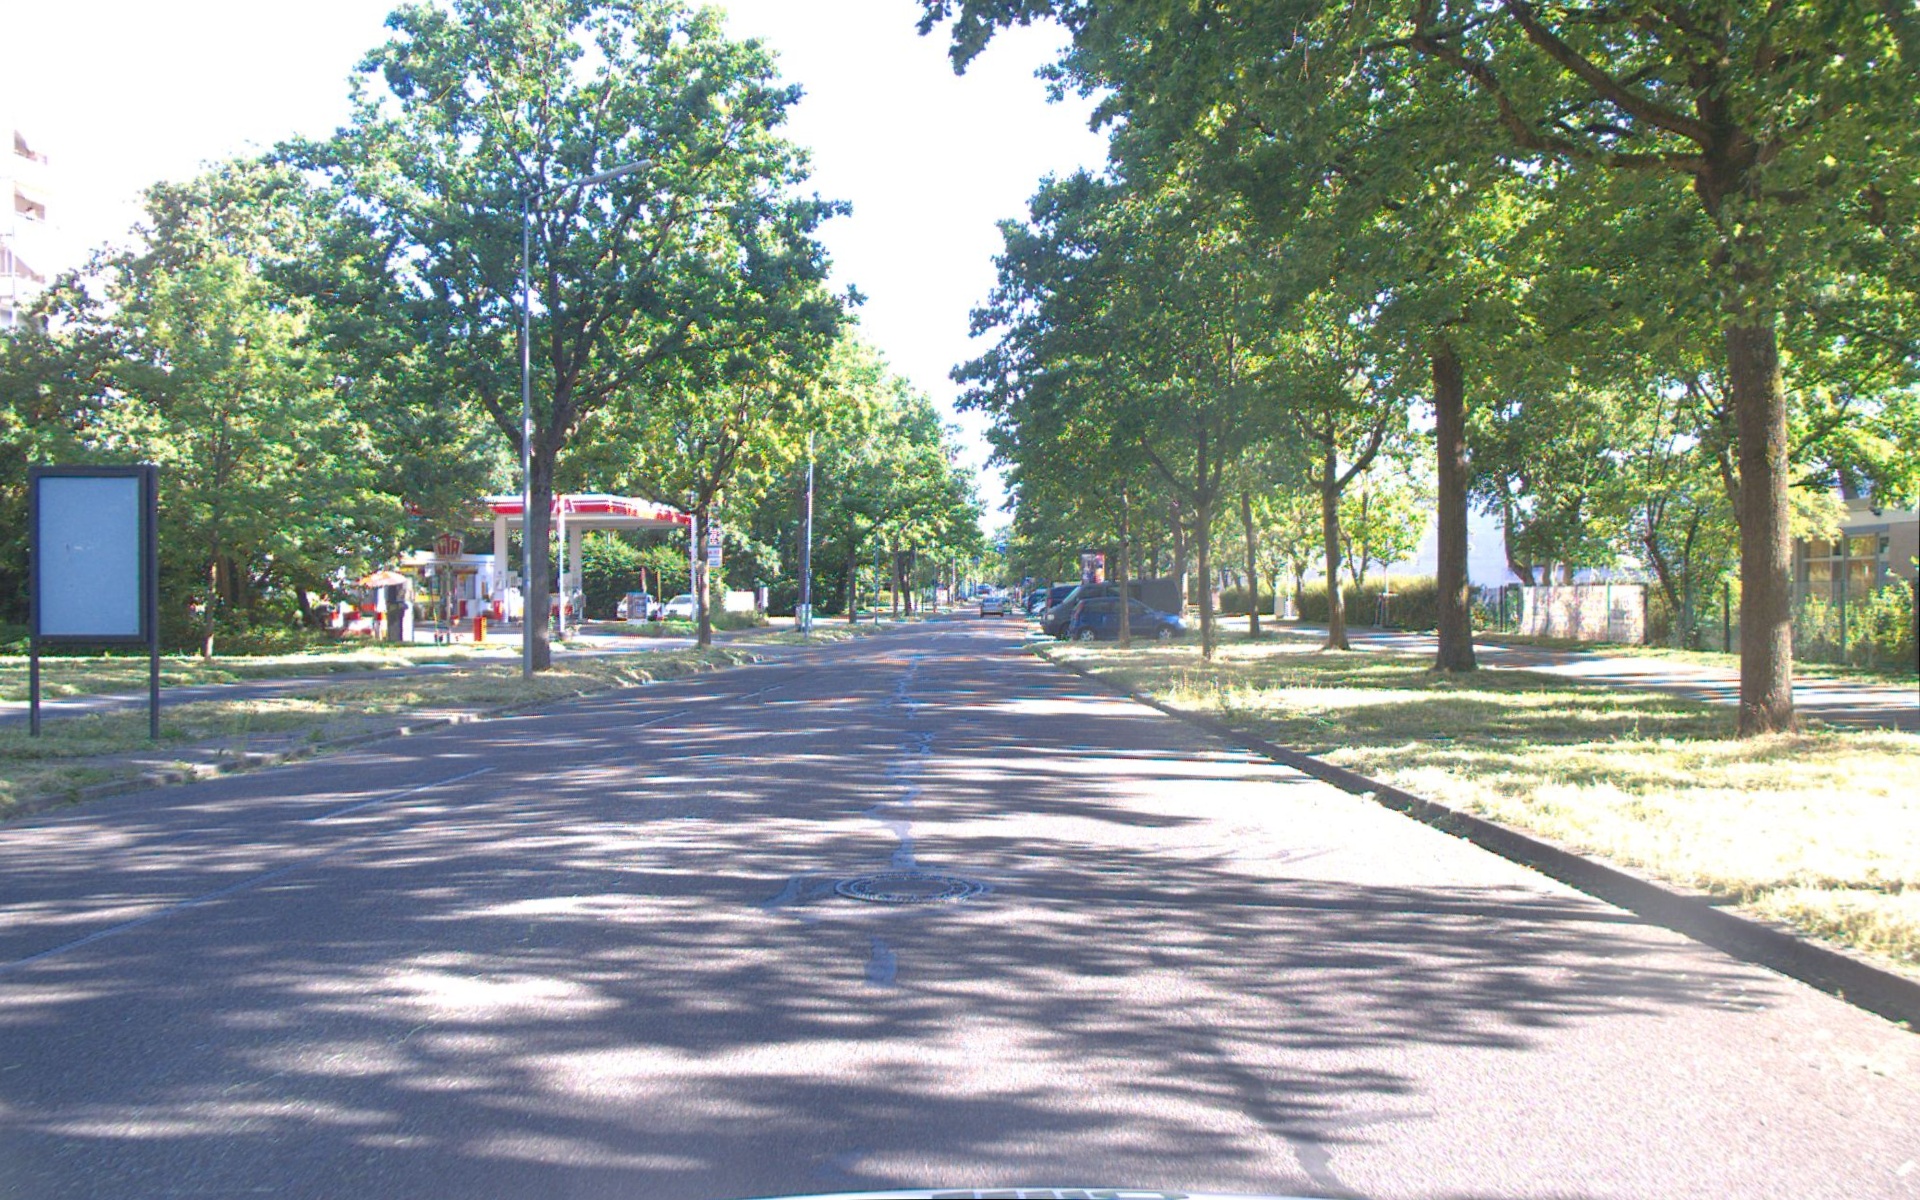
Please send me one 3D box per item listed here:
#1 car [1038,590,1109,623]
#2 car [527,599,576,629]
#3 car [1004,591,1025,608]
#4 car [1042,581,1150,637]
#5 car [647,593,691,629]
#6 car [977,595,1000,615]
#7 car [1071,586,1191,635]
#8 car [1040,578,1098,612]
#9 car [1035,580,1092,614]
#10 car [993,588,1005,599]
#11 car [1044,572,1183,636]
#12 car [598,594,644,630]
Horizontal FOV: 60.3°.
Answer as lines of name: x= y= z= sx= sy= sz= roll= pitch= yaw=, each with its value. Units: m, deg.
car: x=5.826 y=0.350 z=85.007 sx=3.578 sy=1.590 sz=1.317 roll=-1 pitch=-1 yaw=0
car: x=-22.784 y=0.801 z=92.272 sx=1.764 sy=1.649 sz=3.804 roll=-1 pitch=-1 yaw=0
car: x=4.639 y=-0.017 z=141.459 sx=1.627 sy=1.360 sz=3.665 roll=-1 pitch=-1 yaw=0
car: x=4.629 y=0.311 z=56.673 sx=3.578 sy=1.829 sz=1.317 roll=-1 pitch=-1 yaw=0
car: x=-15.818 y=0.628 z=90.150 sx=1.764 sy=1.855 sz=3.804 roll=-1 pitch=-1 yaw=-1
car: x=2.054 y=0.404 z=120.994 sx=1.627 sy=1.360 sz=3.665 roll=-1 pitch=-1 yaw=0
car: x=5.272 y=0.341 z=51.194 sx=3.578 sy=1.422 sz=1.317 roll=-1 pitch=-1 yaw=0
car: x=6.825 y=-0.304 z=103.910 sx=3.494 sy=2.087 sz=1.633 roll=-1 pitch=-1 yaw=1
car: x=6.646 y=-0.168 z=106.409 sx=3.494 sy=2.087 sz=1.575 roll=-1 pitch=-1 yaw=1
car: x=5.477 y=-0.903 z=233.078 sx=1.627 sy=1.360 sz=3.665 roll=-1 pitch=-1 yaw=0
car: x=4.990 y=0.139 z=54.180 sx=4.410 sy=1.987 sz=1.687 roll=-1 pitch=-1 yaw=0
car: x=-18.451 y=0.679 z=90.124 sx=1.764 sy=1.855 sz=3.804 roll=-1 pitch=-1 yaw=-1
